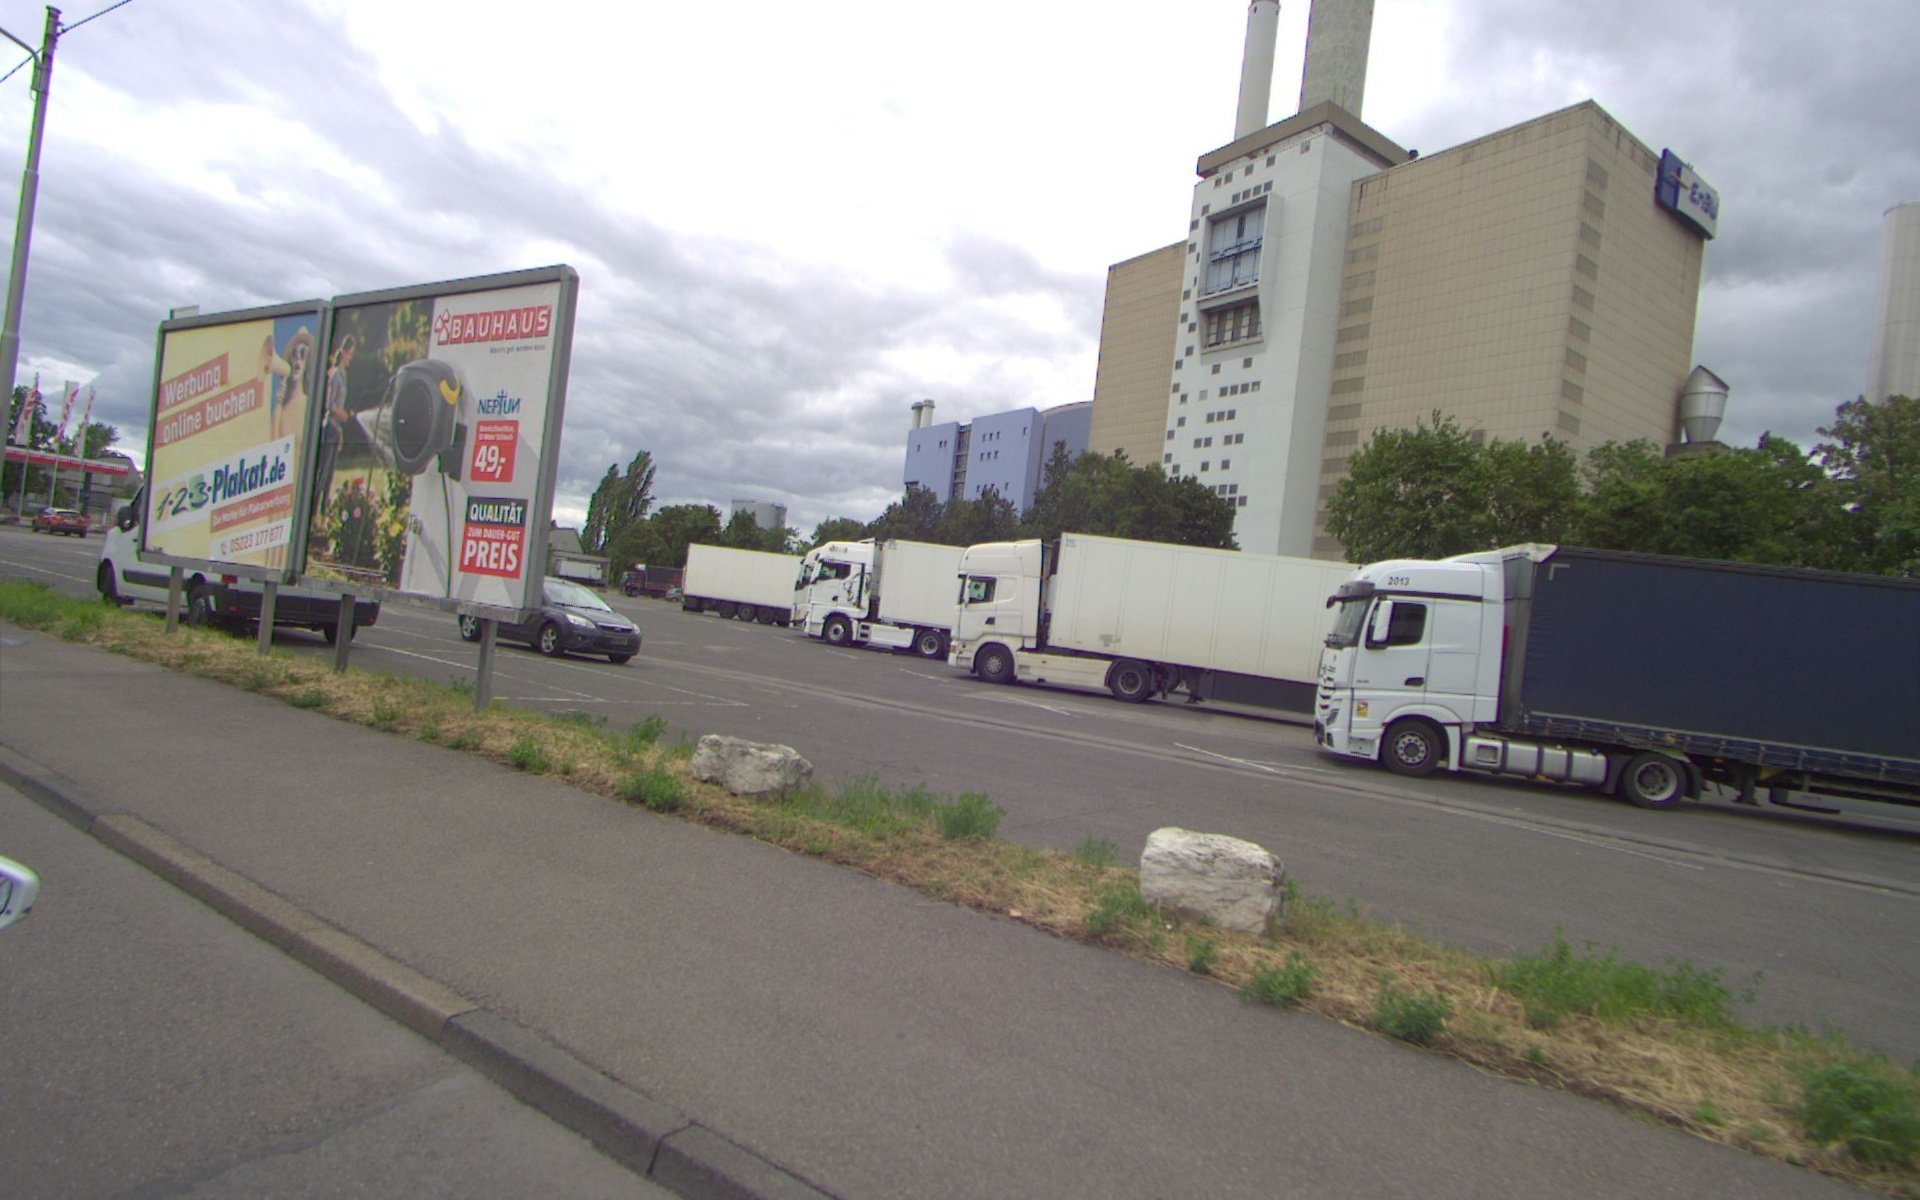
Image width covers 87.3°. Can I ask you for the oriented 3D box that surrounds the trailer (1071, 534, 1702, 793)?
[{"bbox_3d":[9.734,1.276,24.868,13.236,4.230,2.707,7,0,20],"label":"trailer"}]

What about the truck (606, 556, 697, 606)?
[{"bbox_3d":[-36.784,-2.234,120.127,9.553,4.443,3.365,8,0,-29],"label":"truck"}]

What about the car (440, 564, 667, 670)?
[{"bbox_3d":[-8.090,0.319,19.929,4.357,1.461,1.894,6,-3,33],"label":"car"}]

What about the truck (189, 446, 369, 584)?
[{"bbox_3d":[-29.846,-3.777,43.960,8.378,5.155,3.310,7,0,35],"label":"truck"}]

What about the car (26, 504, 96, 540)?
[{"bbox_3d":[-54.798,-4.754,61.316,3.933,1.726,1.997,6,-1,31],"label":"car"}]

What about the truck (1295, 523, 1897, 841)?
[{"bbox_3d":[10.341,1.216,17.502,7.883,4.053,3.073,7,1,12],"label":"truck"}]

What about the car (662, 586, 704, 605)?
[{"bbox_3d":[-30.976,-0.494,112.515,4.061,1.597,1.876,8,-1,-38],"label":"car"}]

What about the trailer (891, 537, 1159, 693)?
[{"bbox_3d":[2.350,0.510,36.142,8.771,4.241,2.770,8,0,16],"label":"trailer"}]

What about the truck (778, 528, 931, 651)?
[{"bbox_3d":[-4.307,-0.379,41.577,5.139,4.266,2.789,8,0,13],"label":"truck"}]

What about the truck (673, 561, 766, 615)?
[{"bbox_3d":[-25.748,-1.241,107.976,8.796,4.431,3.015,9,0,-36],"label":"truck"}]

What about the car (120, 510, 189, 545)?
[{"bbox_3d":[-52.112,-4.704,65.073,4.118,1.726,1.997,6,-1,31],"label":"car"}]

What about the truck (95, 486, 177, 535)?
[{"bbox_3d":[-70.092,-7.614,85.518,7.387,3.183,3.178,8,0,34],"label":"truck"}]

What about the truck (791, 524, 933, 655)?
[{"bbox_3d":[-3.625,-0.339,37.894,4.077,4.266,2.789,8,0,16],"label":"truck"}]

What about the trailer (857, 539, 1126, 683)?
[{"bbox_3d":[1.287,0.410,40.264,9.945,4.241,2.770,8,0,13],"label":"trailer"}]

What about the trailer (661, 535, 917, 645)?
[{"bbox_3d":[-9.824,-0.602,57.301,14.146,4.258,3.111,8,0,18],"label":"trailer"}]

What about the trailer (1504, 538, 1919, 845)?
[{"bbox_3d":[16.466,1.950,16.177,12.853,4.025,3.066,8,0,12],"label":"trailer"}]

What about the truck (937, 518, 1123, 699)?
[{"bbox_3d":[1.975,0.256,27.710,4.001,4.264,2.708,8,0,20],"label":"truck"}]

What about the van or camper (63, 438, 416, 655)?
[{"bbox_3d":[-11.229,-0.901,15.501,6.016,2.679,2.258,6,-1,34],"label":"van or camper"}]
